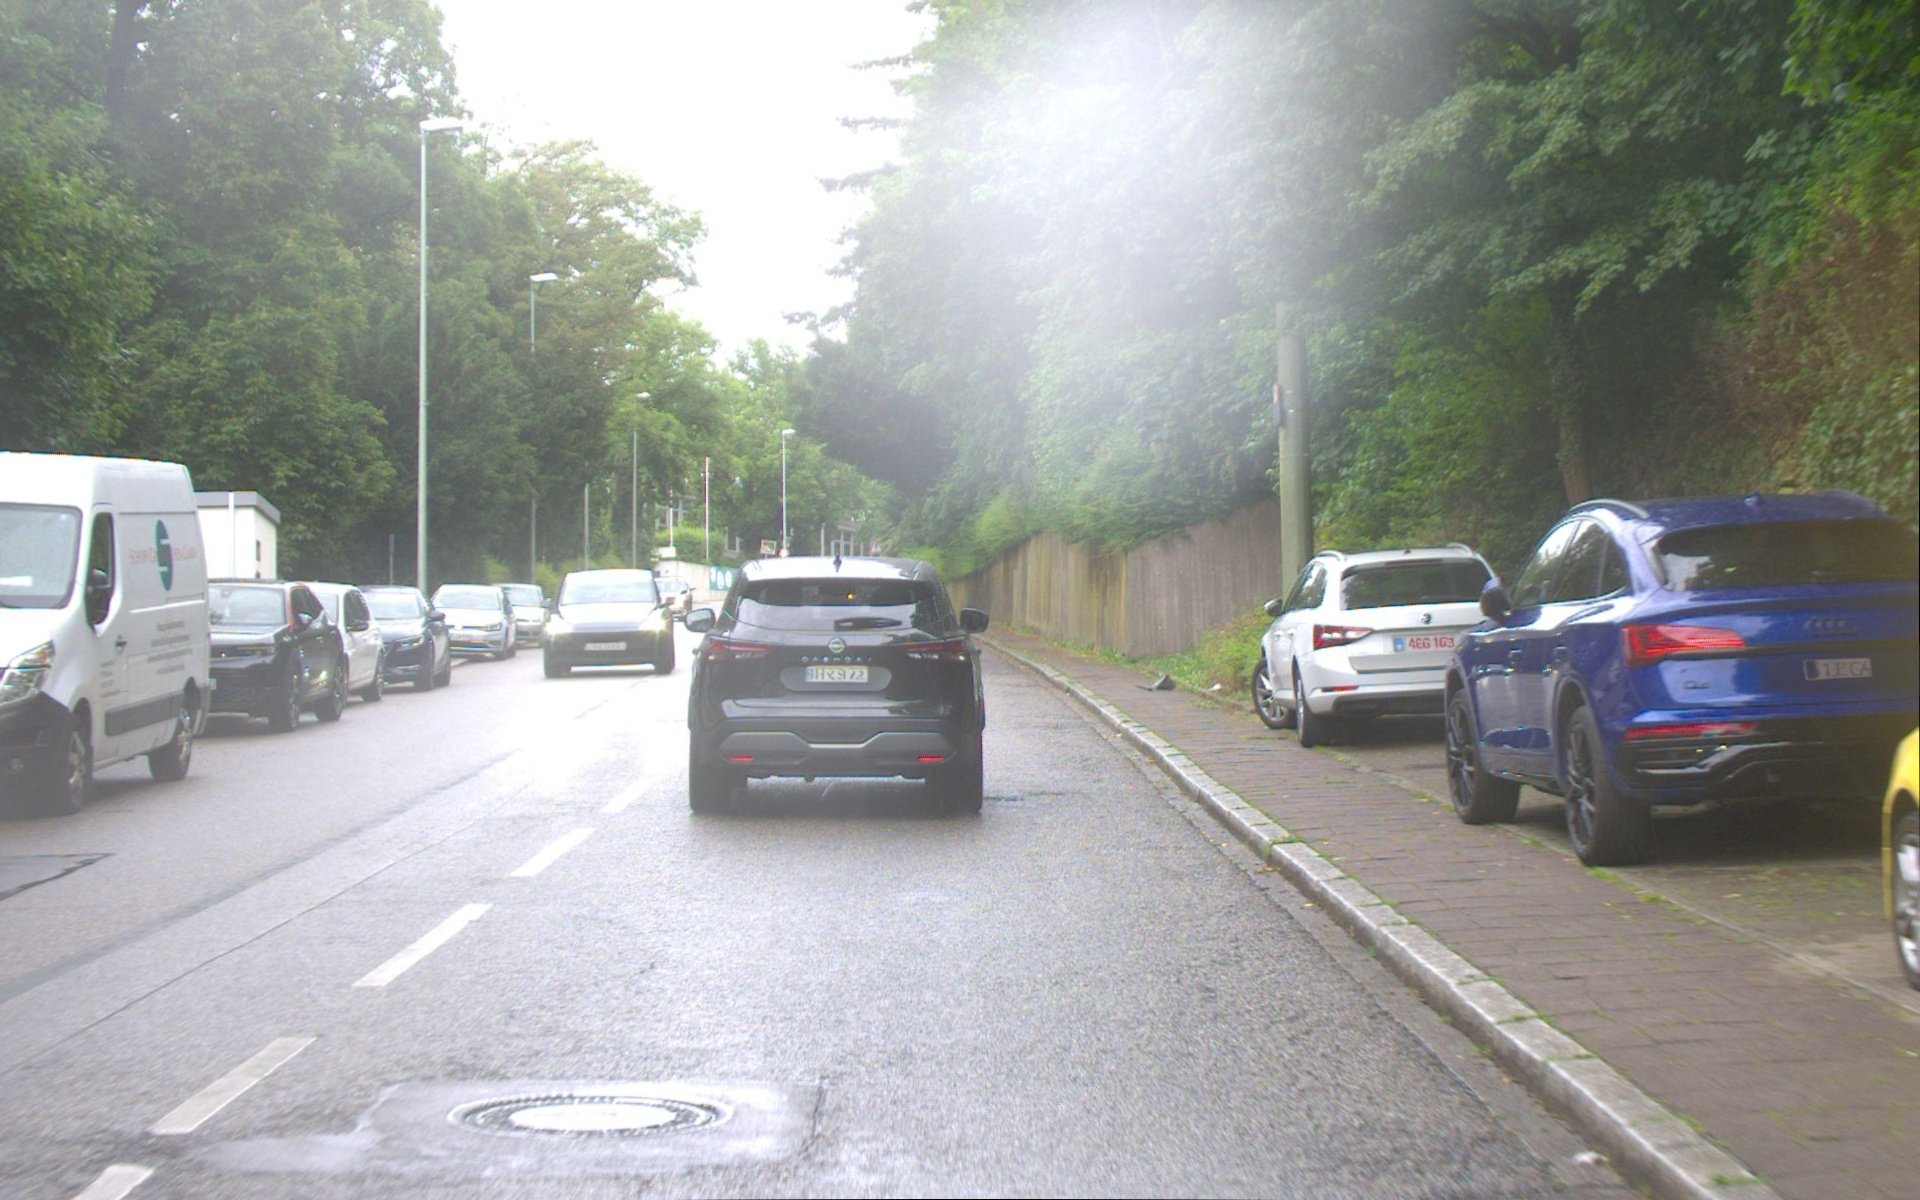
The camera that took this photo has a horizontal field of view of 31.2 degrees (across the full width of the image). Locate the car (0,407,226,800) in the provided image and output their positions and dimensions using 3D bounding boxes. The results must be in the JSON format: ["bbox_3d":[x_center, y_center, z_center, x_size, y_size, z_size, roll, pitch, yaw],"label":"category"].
[{"bbox_3d":[-6.795,-0.005,24.521,1.990,2.466,5.785,-1,1,-2],"label":"car"}]

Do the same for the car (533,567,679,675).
[{"bbox_3d":[-5.424,0.290,53.136,1.993,1.554,4.001,0,1,-2],"label":"car"}]

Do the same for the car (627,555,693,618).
[{"bbox_3d":[-9.898,-0.424,113.763,1.993,1.941,4.000,1,-2,-2],"label":"car"}]

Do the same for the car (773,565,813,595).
[{"bbox_3d":[-8.974,-1.073,184.578,2.074,1.554,4.000,0,1,-2],"label":"car"}]

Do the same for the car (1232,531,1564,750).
[{"bbox_3d":[3.403,0.281,27.507,1.810,1.525,4.417,-3,1,-3],"label":"car"}]

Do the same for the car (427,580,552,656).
[{"bbox_3d":[-9.337,0.338,68.540,1.990,1.379,4.458,-1,1,-2],"label":"car"}]

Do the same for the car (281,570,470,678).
[{"bbox_3d":[-8.147,0.299,48.291,1.990,1.379,4.458,-1,1,-2],"label":"car"}]

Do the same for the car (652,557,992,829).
[{"bbox_3d":[-0.835,0.524,22.298,1.993,1.554,4.000,0,1,-1],"label":"car"}]

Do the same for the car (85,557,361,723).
[{"bbox_3d":[-7.563,0.363,35.694,1.990,1.561,4.458,-1,1,-2],"label":"car"}]

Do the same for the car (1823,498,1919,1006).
[{"bbox_3d":[3.693,0.470,9.538,1.633,1.525,4.000,0,1,1],"label":"car"}]

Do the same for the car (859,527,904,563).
[{"bbox_3d":[-3.856,-2.695,169.393,1.993,1.554,3.999,-2,-1,2],"label":"car"}]

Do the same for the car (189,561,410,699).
[{"bbox_3d":[-8.150,0.327,42.792,1.990,1.561,4.458,-1,1,-2],"label":"car"}]

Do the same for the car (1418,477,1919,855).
[{"bbox_3d":[3.506,0.250,16.722,1.811,1.525,4.417,-3,1,-1],"label":"car"}]

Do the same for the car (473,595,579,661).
[{"bbox_3d":[-10.056,0.631,79.953,1.990,1.379,4.458,-1,1,-2],"label":"car"}]
